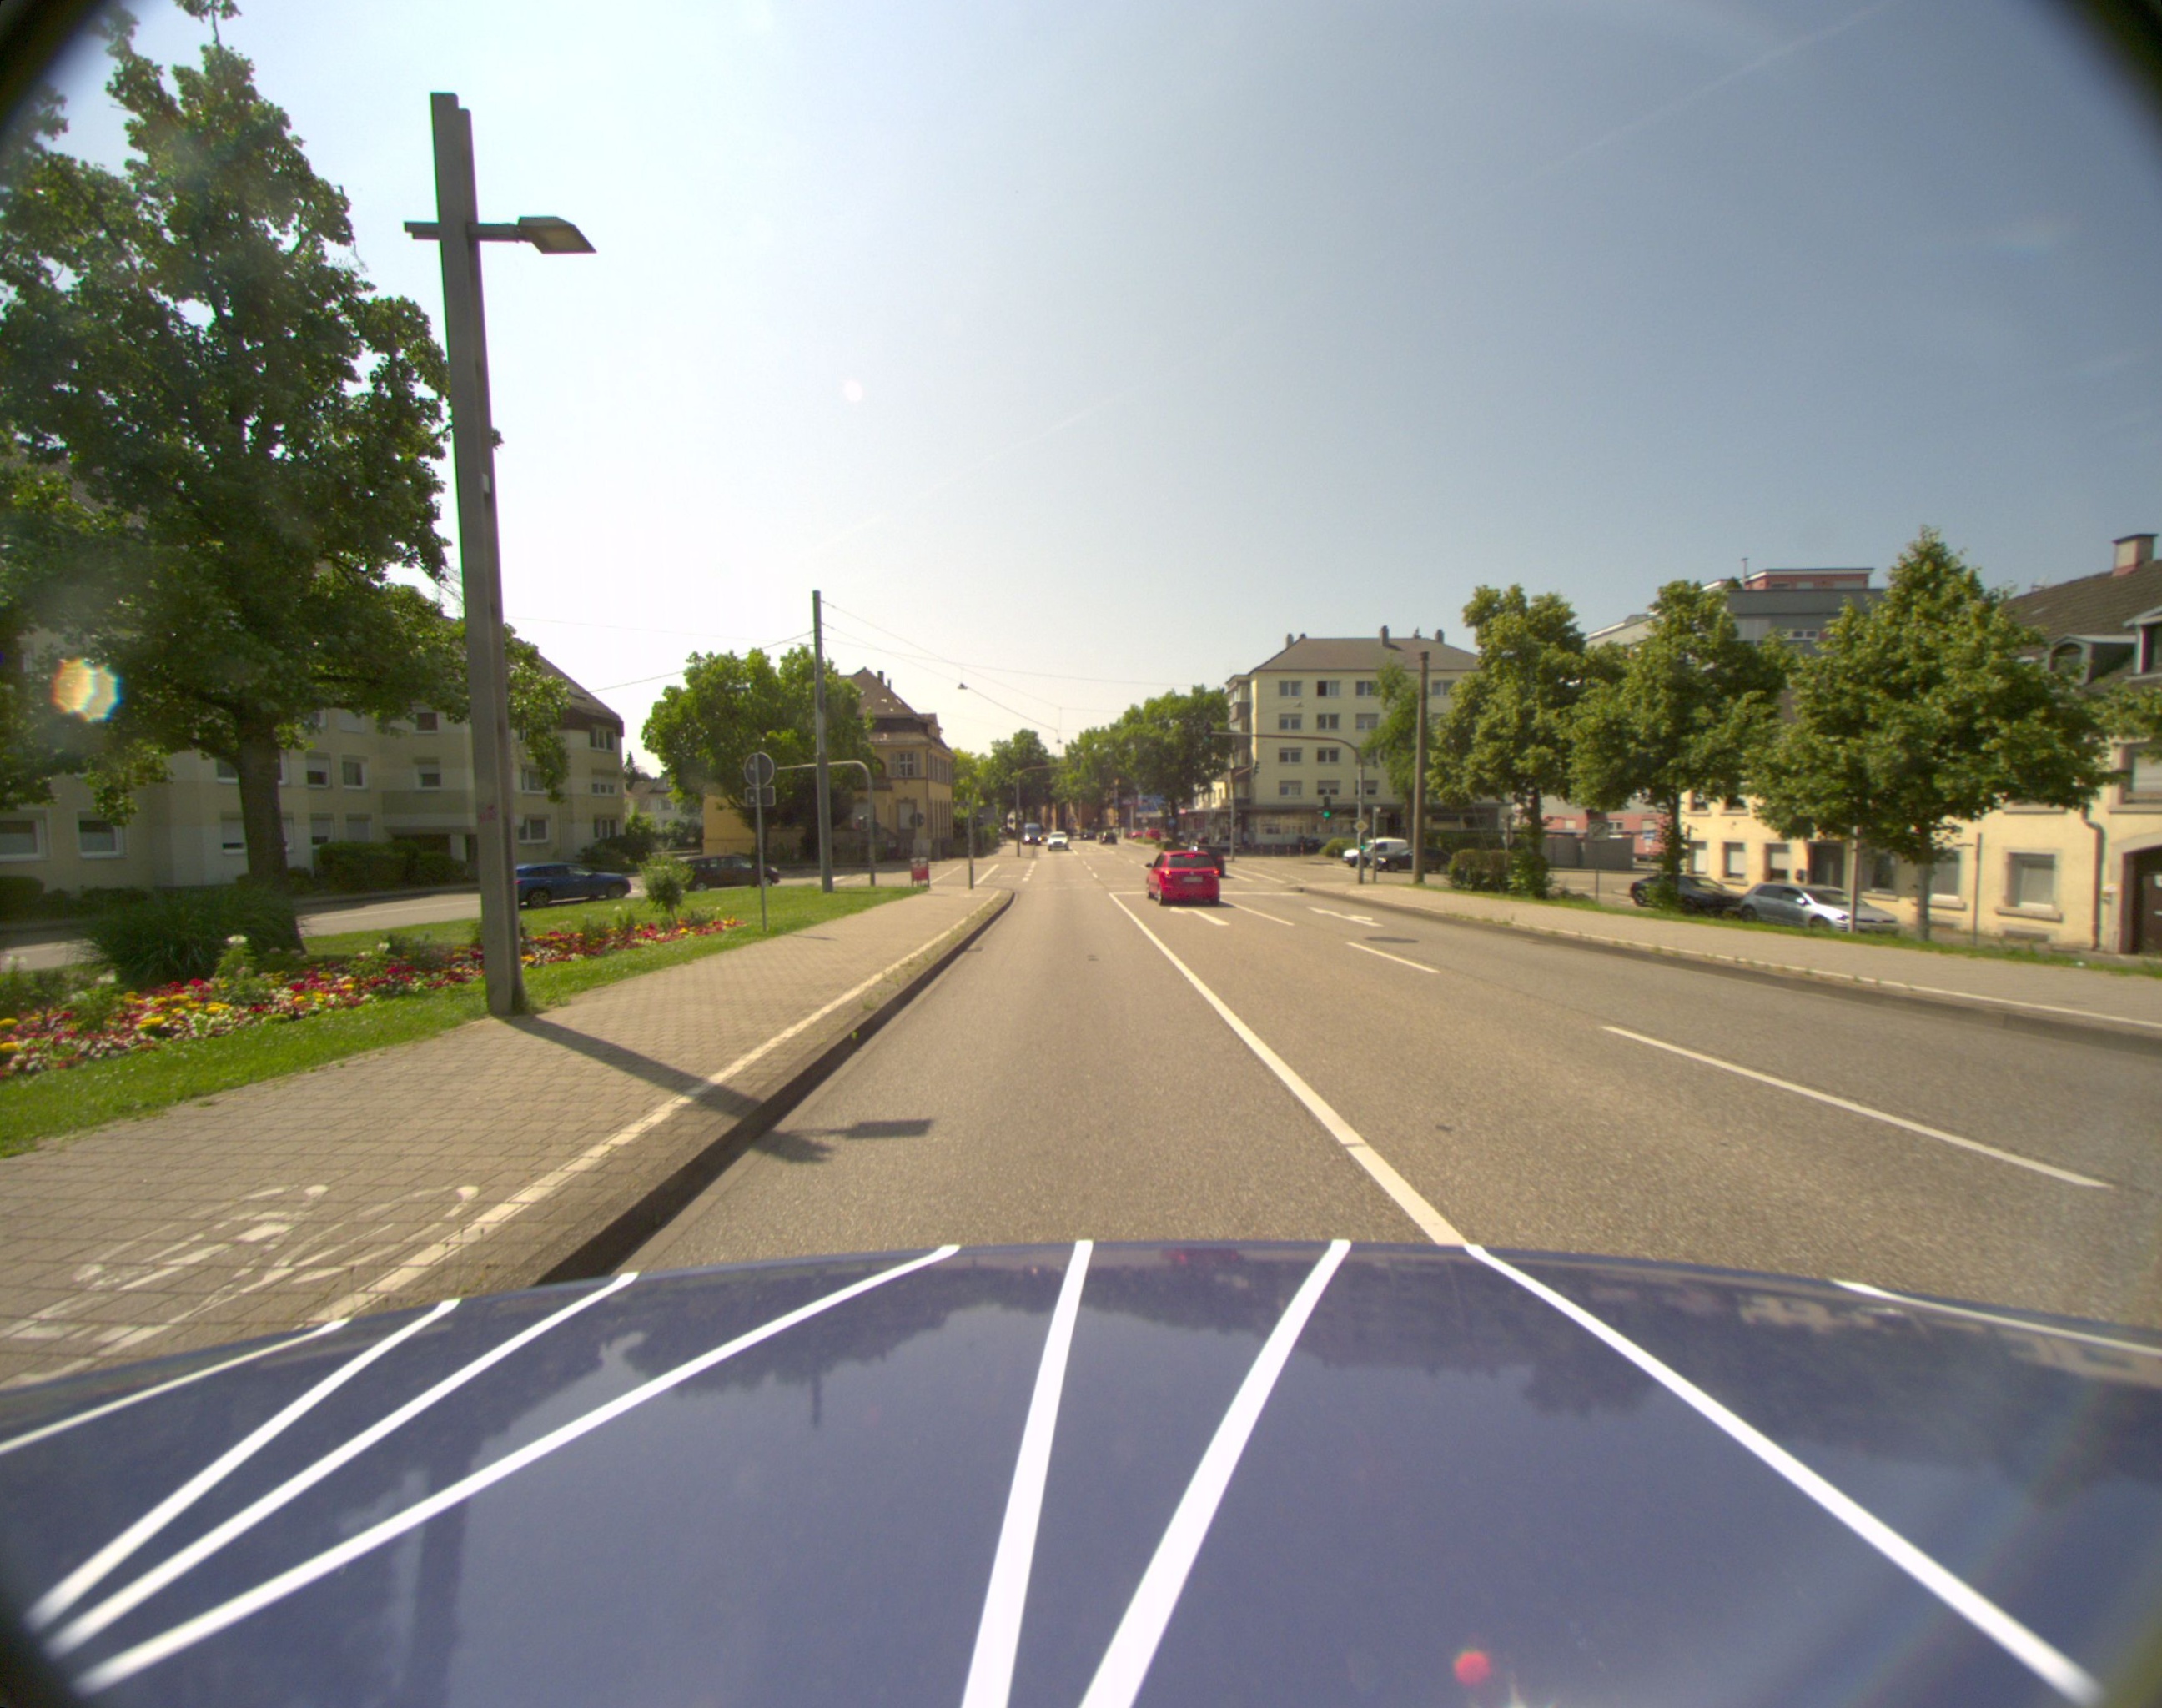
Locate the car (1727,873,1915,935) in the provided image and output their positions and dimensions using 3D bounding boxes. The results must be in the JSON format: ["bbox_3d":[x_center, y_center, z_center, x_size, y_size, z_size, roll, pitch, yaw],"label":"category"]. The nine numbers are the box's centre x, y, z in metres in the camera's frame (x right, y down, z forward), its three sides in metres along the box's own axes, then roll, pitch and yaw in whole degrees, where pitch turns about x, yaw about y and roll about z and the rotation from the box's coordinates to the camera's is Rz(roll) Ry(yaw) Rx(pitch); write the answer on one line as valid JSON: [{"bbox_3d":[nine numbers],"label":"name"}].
[{"bbox_3d":[22.578,1.458,23.469,1.779,1.424,4.430,-2,2,6],"label":"car"}]

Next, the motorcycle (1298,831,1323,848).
[{"bbox_3d":[19.545,-1.232,64.817,1.919,1.413,0.713,-2,5,-1],"label":"motorcycle"}]

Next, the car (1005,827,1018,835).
[{"bbox_3d":[-15.179,-5.019,166.760,1.921,1.784,3.993,-3,2,-18],"label":"car"}]

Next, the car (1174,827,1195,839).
[{"bbox_3d":[11.827,-2.392,86.935,1.704,1.280,3.858,-2,3,-3],"label":"car"}]

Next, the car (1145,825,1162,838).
[{"bbox_3d":[8.873,-2.788,93.351,1.639,1.460,3.631,-1,3,-2],"label":"car"}]

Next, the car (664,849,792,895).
[{"bbox_3d":[-15.844,0.736,34.299,4.826,1.623,1.912,-5,5,-44],"label":"car"}]

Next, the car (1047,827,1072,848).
[{"bbox_3d":[-2.010,-1.551,69.756,1.999,1.740,4.441,-2,3,-4],"label":"car"}]

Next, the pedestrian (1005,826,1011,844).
[{"bbox_3d":[-8.091,-2.104,84.011,0.621,1.908,0.743,-1,4,-3],"label":"pedestrian"}]

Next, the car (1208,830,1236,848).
[{"bbox_3d":[12.497,-1.401,67.635,1.587,1.451,3.936,-1,3,-2],"label":"car"}]

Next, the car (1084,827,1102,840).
[{"bbox_3d":[1.619,-2.751,103.478,1.761,1.552,4.311,1,4,-8],"label":"car"}]

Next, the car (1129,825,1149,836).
[{"bbox_3d":[7.920,-3.244,104.036,1.913,1.511,4.330,-1,3,-5],"label":"car"}]

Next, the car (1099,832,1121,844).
[{"bbox_3d":[3.248,-1.831,85.992,1.842,1.391,4.045,0,2,-7],"label":"car"}]

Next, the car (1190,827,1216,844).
[{"bbox_3d":[12.100,-1.841,75.563,1.626,1.560,4.835,-1,3,-2],"label":"car"}]

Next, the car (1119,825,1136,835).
[{"bbox_3d":[6.982,-3.608,114.315,1.913,1.511,4.330,-1,3,-5],"label":"car"}]

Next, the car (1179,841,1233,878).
[{"bbox_3d":[5.847,0.205,35.952,1.718,1.477,4.029,3,2,-1],"label":"car"}]

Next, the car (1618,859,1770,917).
[{"bbox_3d":[23.085,1.189,28.963,1.818,1.620,5.285,2,3,5],"label":"car"}]

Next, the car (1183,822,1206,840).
[{"bbox_3d":[12.146,-2.478,81.423,1.643,1.829,3.857,-2,3,-3],"label":"car"}]

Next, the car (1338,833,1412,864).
[{"bbox_3d":[18.016,-0.340,46.655,3.696,1.726,1.892,1,3,-4],"label":"car"}]

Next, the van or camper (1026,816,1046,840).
[{"bbox_3d":[-5.160,-3.027,88.129,2.164,2.568,5.840,-2,4,-2],"label":"van or camper"}]

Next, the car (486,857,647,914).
[{"bbox_3d":[-20.127,1.137,29.994,1.994,1.692,4.775,1,5,28],"label":"car"}]

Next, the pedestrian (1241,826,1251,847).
[{"bbox_3d":[14.215,-1.498,65.417,0.629,1.751,0.742,-1,5,-2],"label":"pedestrian"}]

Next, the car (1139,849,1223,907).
[{"bbox_3d":[2.758,0.617,21.744,1.651,1.456,3.858,0,1,-4],"label":"car"}]

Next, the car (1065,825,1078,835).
[{"bbox_3d":[-1.513,-3.839,120.929,1.621,1.447,3.705,1,2,-8],"label":"car"}]

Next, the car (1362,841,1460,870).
[{"bbox_3d":[18.746,0.075,43.256,4.619,1.393,2.114,1,3,-6],"label":"car"}]
